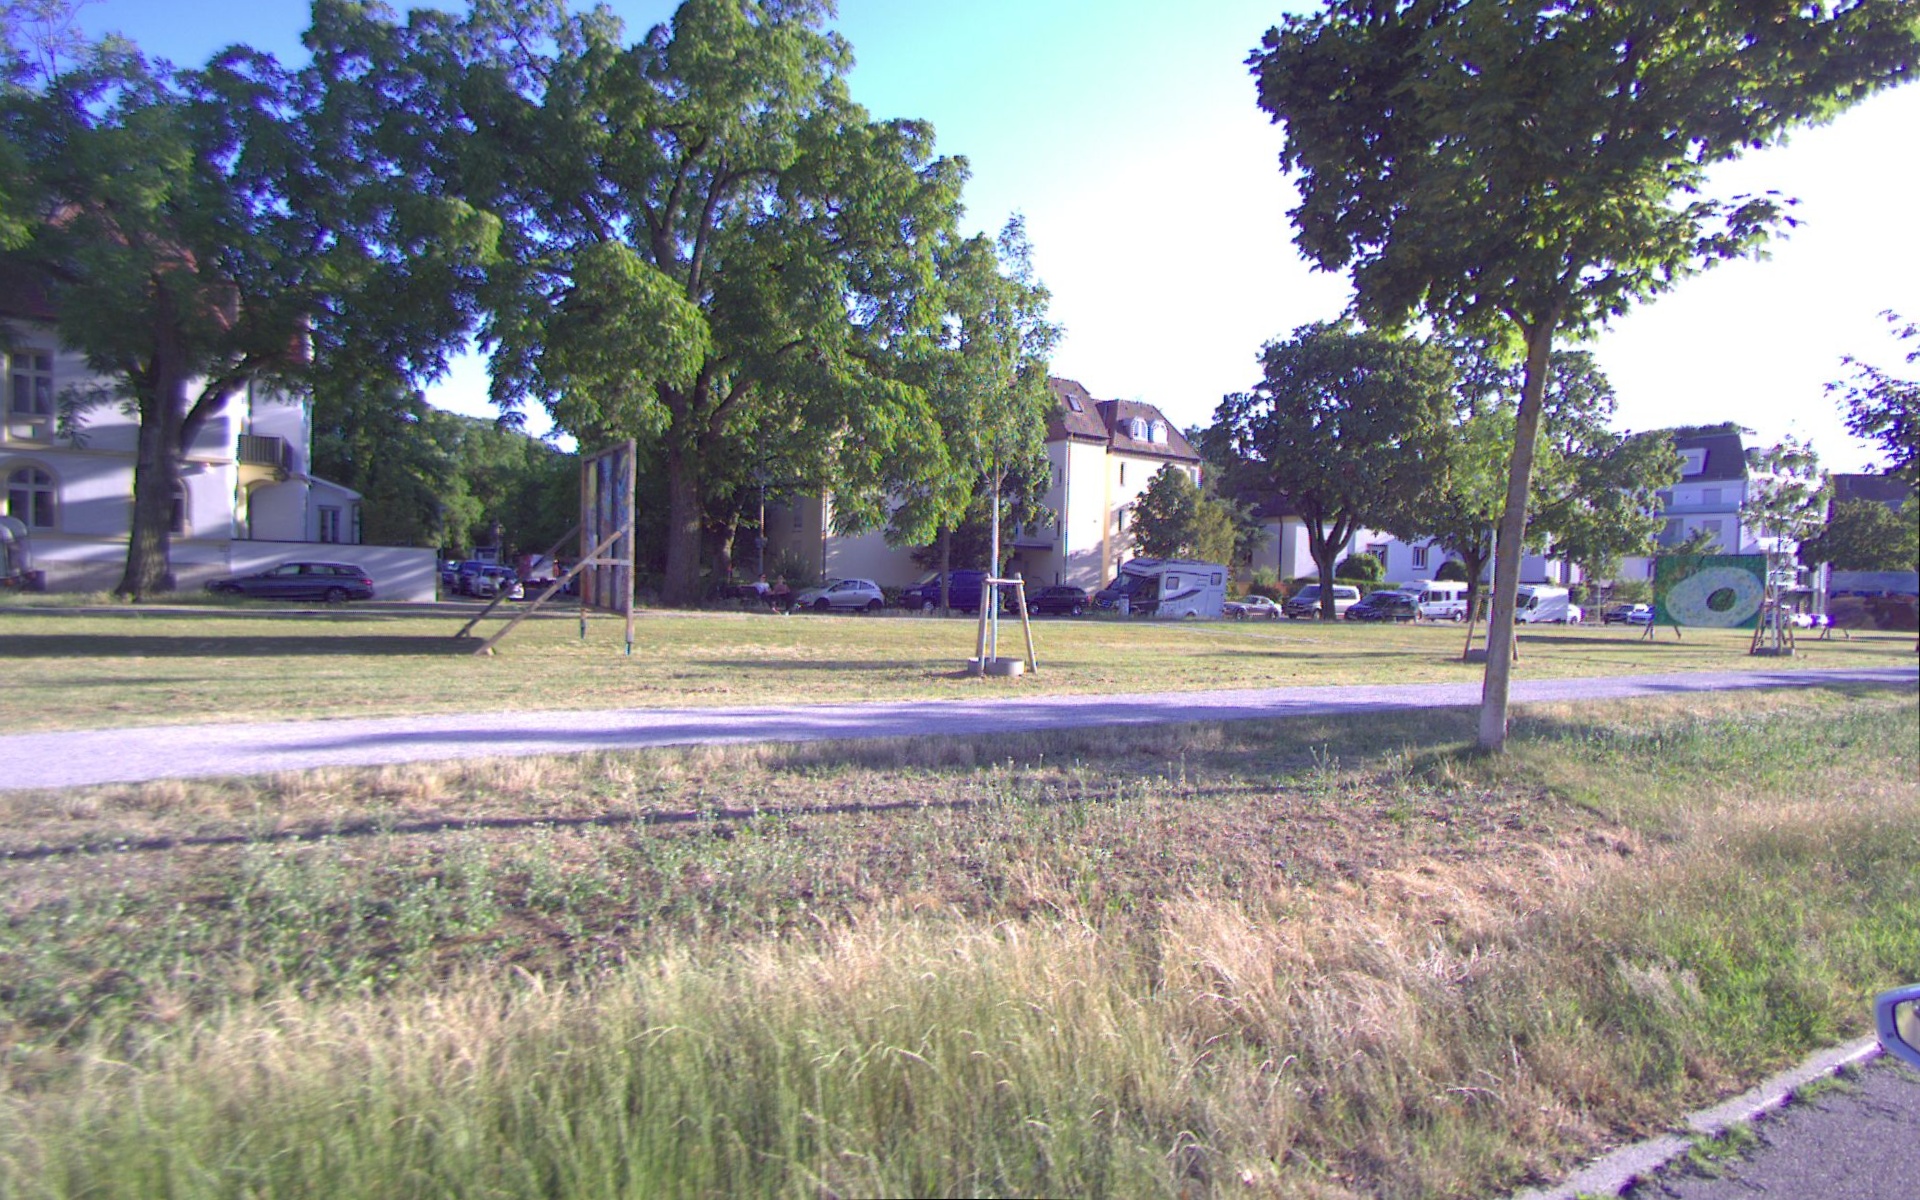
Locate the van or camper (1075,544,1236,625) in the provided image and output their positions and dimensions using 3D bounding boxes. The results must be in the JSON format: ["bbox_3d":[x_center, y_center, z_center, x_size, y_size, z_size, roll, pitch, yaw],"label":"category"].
[{"bbox_3d":[8.563,-0.652,43.745,6.822,3.306,2.629,0,1,-30],"label":"van or camper"}]

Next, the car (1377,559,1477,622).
[{"bbox_3d":[29.332,-0.511,62.987,6.686,3.605,2.293,2,-3,-31],"label":"car"}]

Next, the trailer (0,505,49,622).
[{"bbox_3d":[-25.696,-0.924,23.091,6.562,2.693,2.461,2,-3,-31],"label":"trailer"}]

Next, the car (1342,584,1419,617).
[{"bbox_3d":[21.484,0.022,51.280,4.261,1.585,1.406,1,1,-32],"label":"car"}]

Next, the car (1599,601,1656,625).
[{"bbox_3d":[50.427,1.001,75.892,4.613,1.725,1.773,2,-3,-31],"label":"car"}]

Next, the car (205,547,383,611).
[{"bbox_3d":[-21.485,-0.659,32.659,4.658,1.938,1.881,1,1,-30],"label":"car"}]

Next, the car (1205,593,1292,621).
[{"bbox_3d":[15.880,0.412,55.232,4.503,1.421,1.987,2,-3,-27],"label":"car"}]

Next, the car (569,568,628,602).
[{"bbox_3d":[-19.479,-0.834,53.991,2.156,1.703,4.110,1,1,-32],"label":"car"}]

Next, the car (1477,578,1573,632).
[{"bbox_3d":[32.898,0.351,58.424,5.802,2.862,2.250,2,-3,-30],"label":"car"}]

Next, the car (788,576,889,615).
[{"bbox_3d":[-5.154,-0.194,42.639,3.767,1.563,1.982,1,1,-32],"label":"car"}]

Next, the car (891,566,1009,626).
[{"bbox_3d":[-0.410,-0.110,45.257,5.056,2.450,1.929,2,-3,-30],"label":"car"}]

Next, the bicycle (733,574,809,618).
[{"bbox_3d":[-5.929,-0.114,31.583,2.300,1.360,0.508,1,1,-28],"label":"bicycle"}]

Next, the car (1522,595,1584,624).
[{"bbox_3d":[41.718,0.685,70.678,4.660,1.878,1.722,2,-3,-31],"label":"car"}]

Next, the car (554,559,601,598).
[{"bbox_3d":[-22.186,-1.257,58.212,1.850,2.152,3.965,1,1,-32],"label":"car"}]

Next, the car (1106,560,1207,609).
[{"bbox_3d":[8.563,-0.652,43.745,3.952,2.041,1.984,0,1,-30],"label":"car"}]

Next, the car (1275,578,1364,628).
[{"bbox_3d":[20.881,0.231,58.302,5.268,2.638,2.124,2,-3,-32],"label":"car"}]

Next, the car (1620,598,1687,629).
[{"bbox_3d":[46.003,0.948,66.619,4.587,1.924,1.825,2,-3,-30],"label":"car"}]

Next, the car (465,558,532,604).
[{"bbox_3d":[-20.411,-0.866,44.341,1.961,1.925,4.483,0,1,-34],"label":"car"}]

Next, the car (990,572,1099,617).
[{"bbox_3d":[4.082,-0.249,48.224,4.989,2.031,1.960,1,1,-30],"label":"car"}]

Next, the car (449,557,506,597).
[{"bbox_3d":[-23.532,-1.122,48.891,2.048,1.793,5.025,1,1,-31],"label":"car"}]
